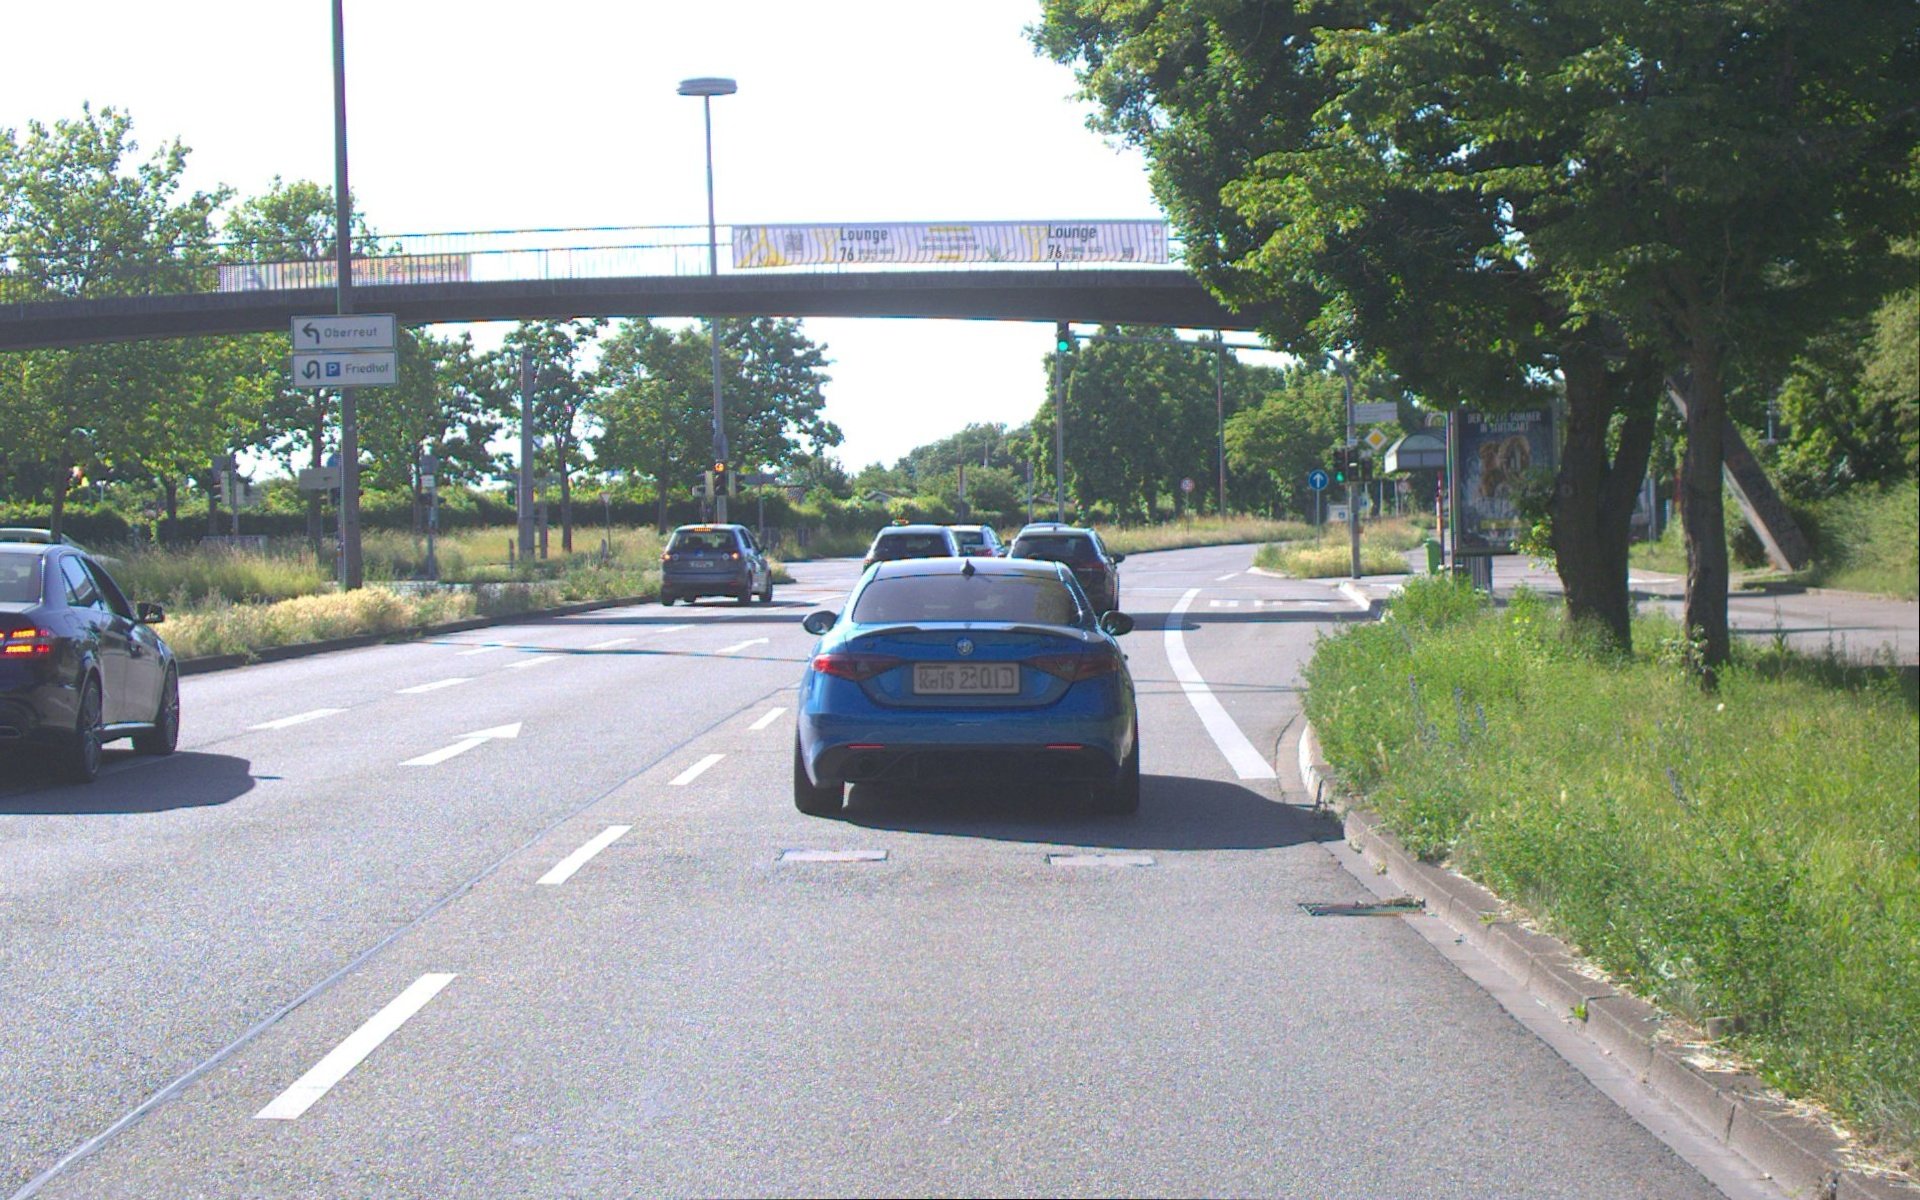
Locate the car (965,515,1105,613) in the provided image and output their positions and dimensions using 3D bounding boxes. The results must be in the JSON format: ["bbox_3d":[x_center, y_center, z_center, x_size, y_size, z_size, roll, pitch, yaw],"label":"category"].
[{"bbox_3d":[1.116,-0.556,53.036,1.883,1.449,4.527,0,1,-2],"label":"car"}]

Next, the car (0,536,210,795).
[{"bbox_3d":[-6.285,0.354,22.079,1.959,1.478,4.919,-1,1,-2],"label":"car"}]

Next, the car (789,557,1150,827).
[{"bbox_3d":[-0.031,0.456,20.052,1.883,1.401,4.224,0,1,-2],"label":"car"}]

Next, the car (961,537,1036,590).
[{"bbox_3d":[1.065,-1.037,96.744,1.883,1.449,4.527,0,1,-2],"label":"car"}]

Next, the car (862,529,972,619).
[{"bbox_3d":[-0.815,-0.490,63.020,1.707,1.592,4.225,0,1,-5],"label":"car"}]

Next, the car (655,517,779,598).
[{"bbox_3d":[-4.768,-0.842,67.945,1.797,1.550,3.729,0,1,6],"label":"car"}]

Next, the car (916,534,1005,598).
[{"bbox_3d":[-0.019,-0.798,80.034,1.883,1.449,4.527,0,1,-2],"label":"car"}]
